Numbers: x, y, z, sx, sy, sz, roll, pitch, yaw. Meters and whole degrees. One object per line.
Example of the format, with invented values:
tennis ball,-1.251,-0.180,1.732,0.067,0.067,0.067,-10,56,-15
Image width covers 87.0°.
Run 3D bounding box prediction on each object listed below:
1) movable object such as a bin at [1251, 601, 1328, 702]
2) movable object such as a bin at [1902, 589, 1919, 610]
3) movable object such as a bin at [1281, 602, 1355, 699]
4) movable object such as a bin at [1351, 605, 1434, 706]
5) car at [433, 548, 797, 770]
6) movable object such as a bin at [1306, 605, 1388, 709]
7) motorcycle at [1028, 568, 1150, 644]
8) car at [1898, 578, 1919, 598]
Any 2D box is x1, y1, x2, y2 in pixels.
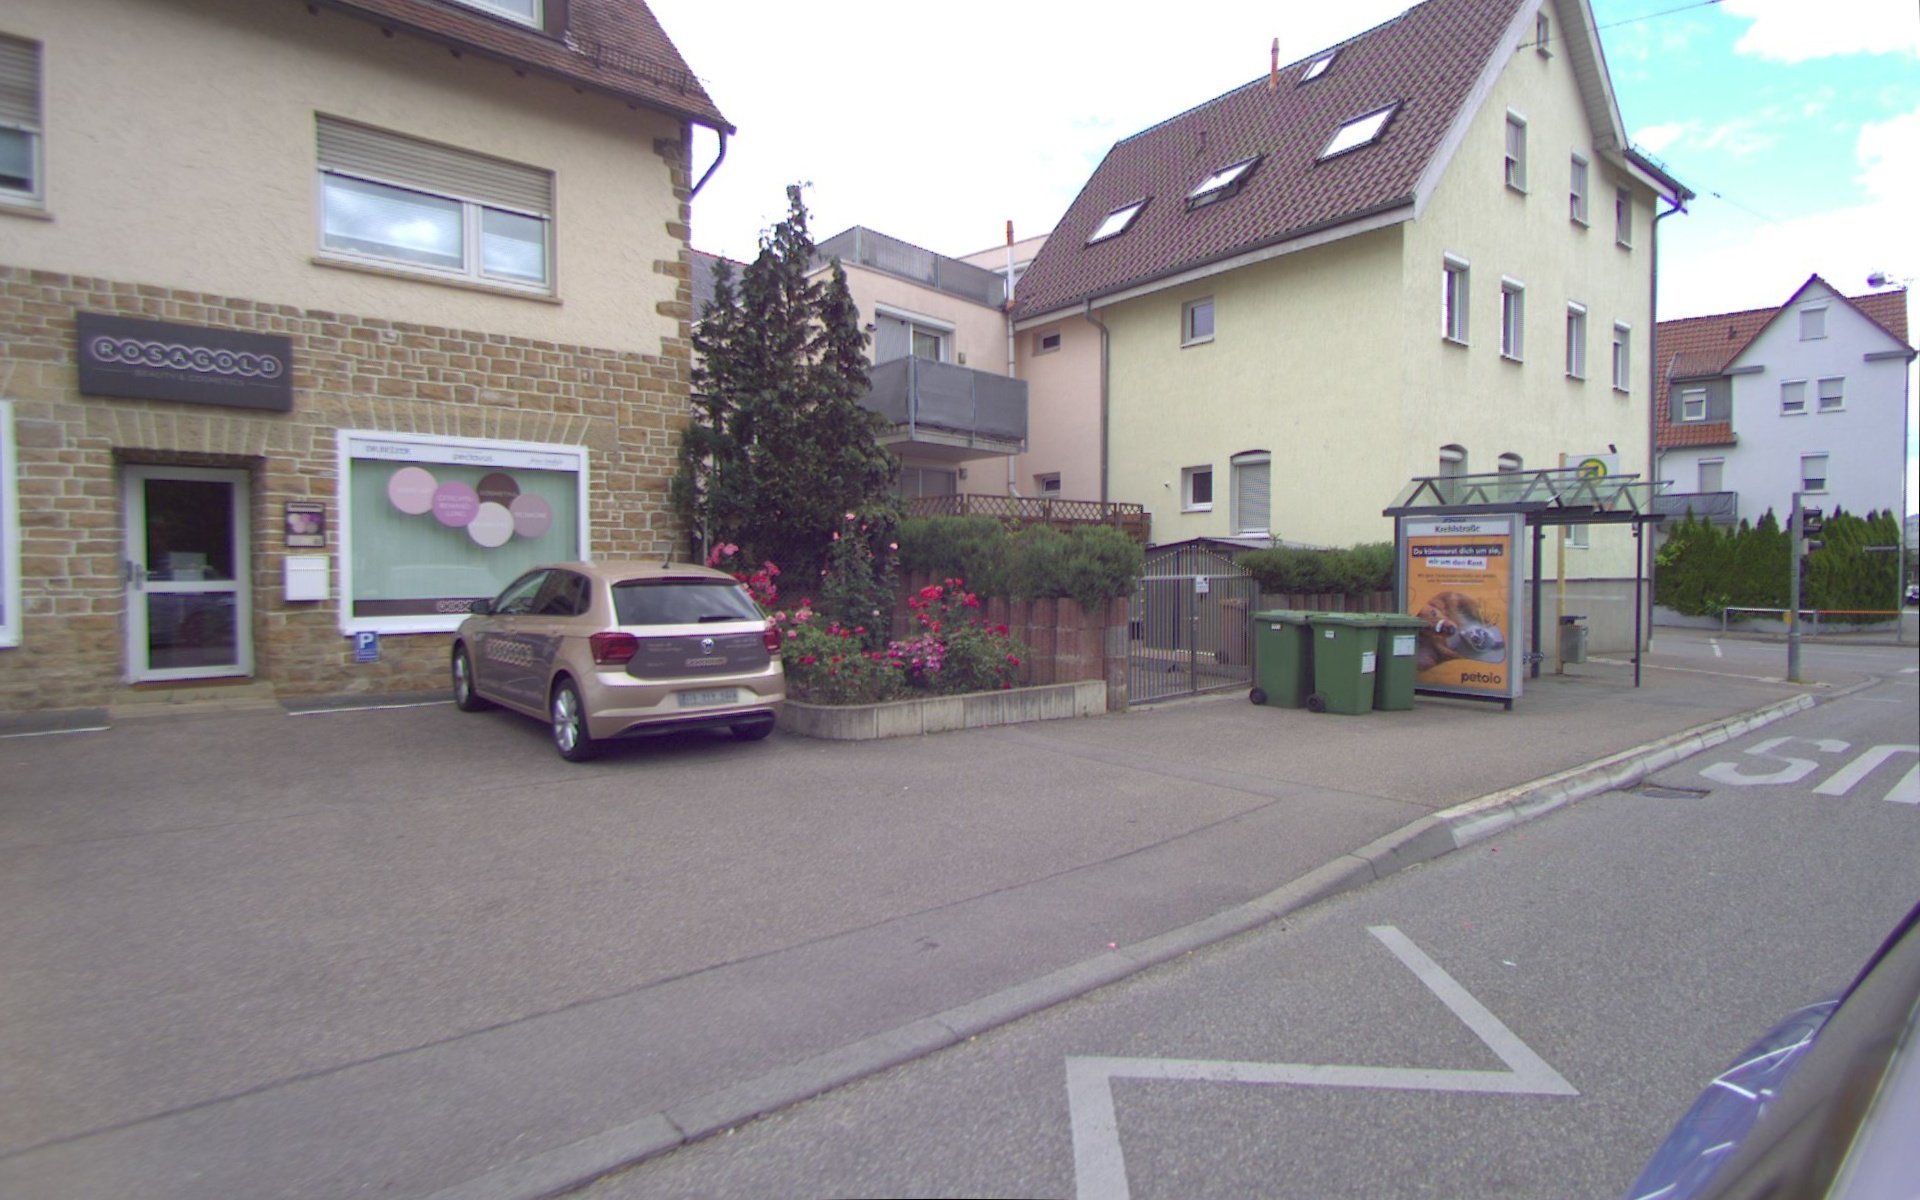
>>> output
movable object such as a bin,3.718,0.562,11.427,0.636,1.059,0.577,2,2,45
movable object such as a bin,42.899,-0.041,45.647,0.564,0.914,0.511,3,3,43
movable object such as a bin,4.210,0.575,11.912,0.636,1.059,0.577,2,2,45
movable object such as a bin,4.824,0.603,11.313,0.579,1.059,0.639,-1,1,-13
car,-3.128,0.300,8.723,1.613,1.418,3.809,-2,5,-42
movable object such as a bin,4.179,0.597,10.926,0.636,1.059,0.577,-1,1,45
motorcycle,2.088,0.069,16.607,1.951,1.153,0.686,2,2,44
car,75.616,-0.946,80.029,1.839,1.538,3.943,0,1,40
